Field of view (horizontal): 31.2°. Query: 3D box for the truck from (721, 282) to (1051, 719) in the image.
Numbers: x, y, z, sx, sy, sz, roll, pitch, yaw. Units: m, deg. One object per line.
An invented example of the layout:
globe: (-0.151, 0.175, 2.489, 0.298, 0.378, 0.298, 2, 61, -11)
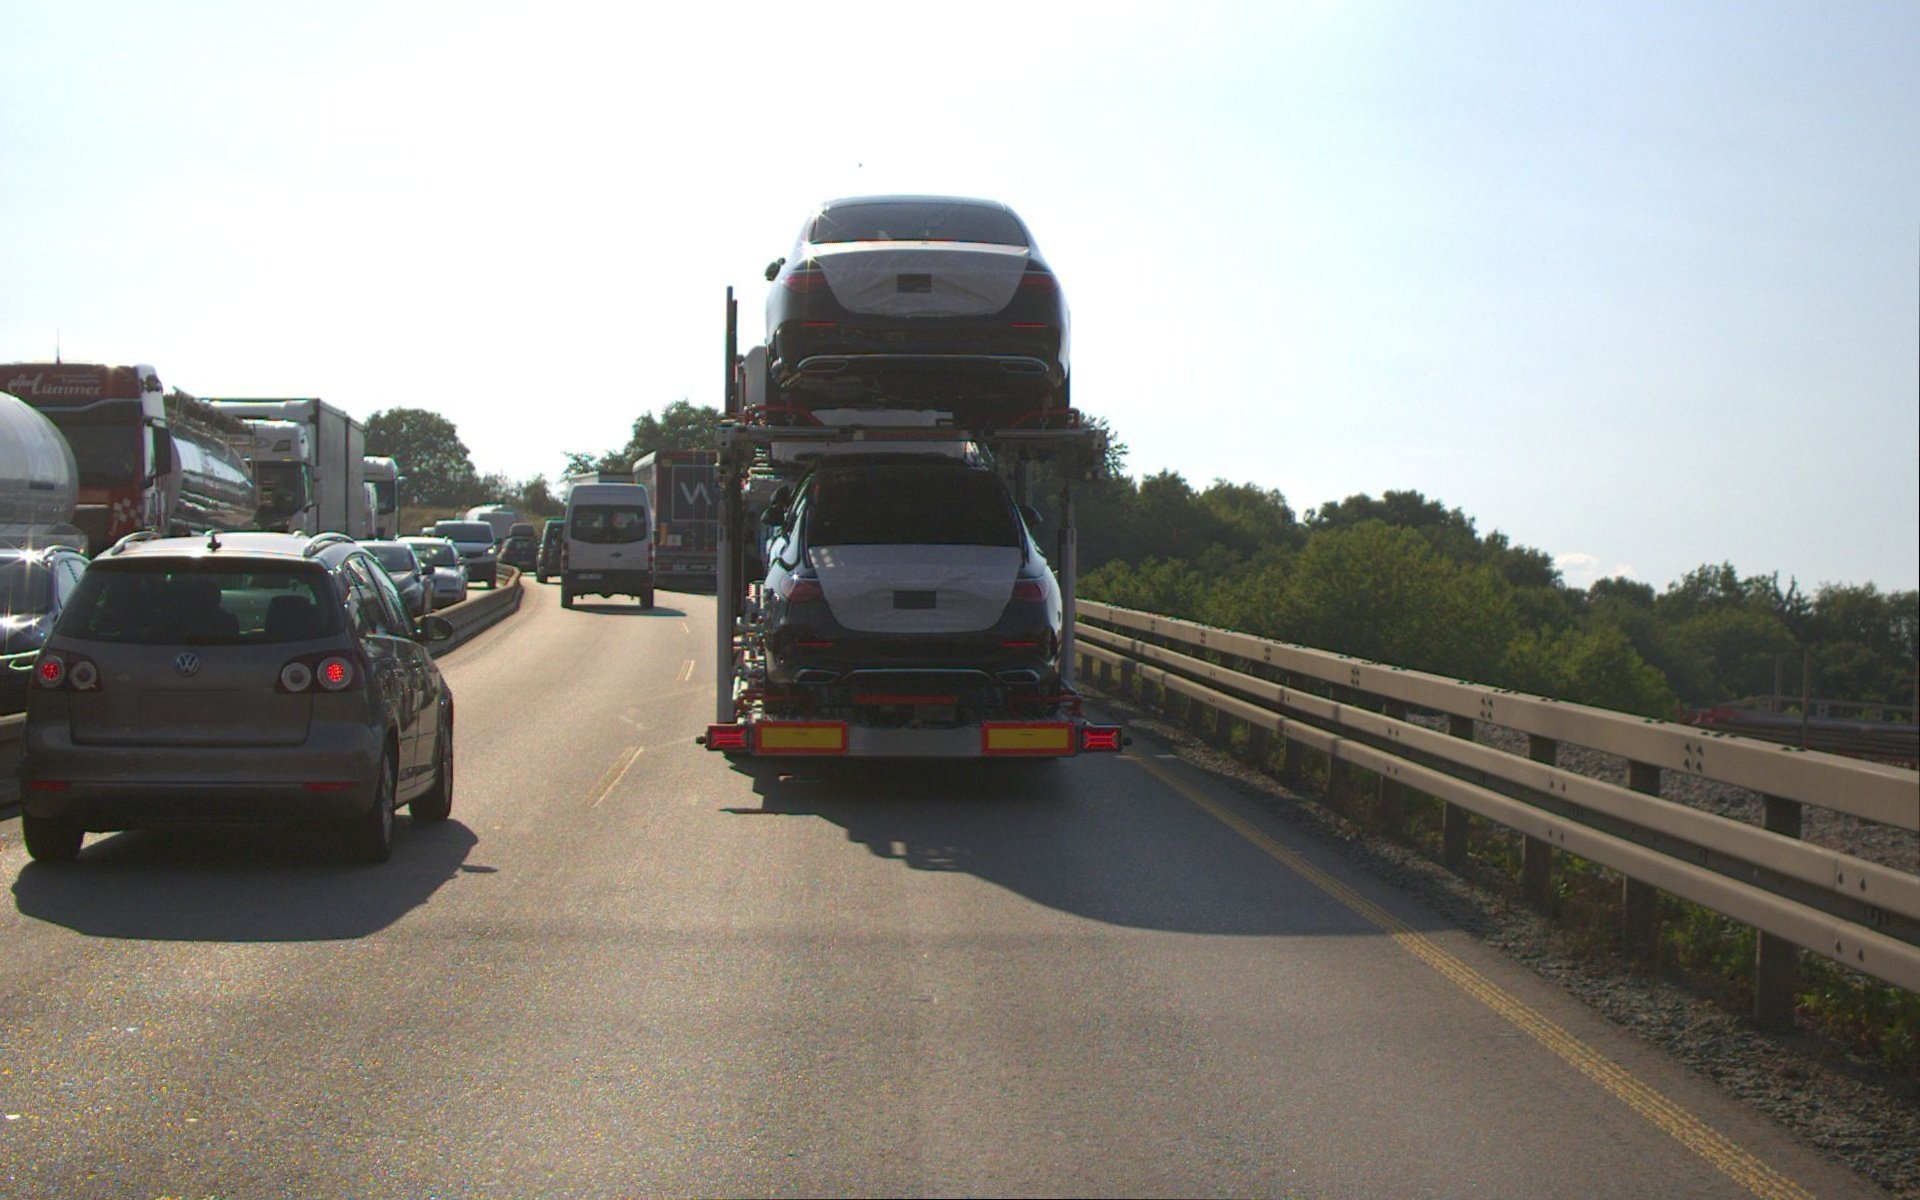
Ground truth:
truck: (-0.927, -0.929, 34.987, 2.837, 3.779, 9.988, 1, 1, -3)

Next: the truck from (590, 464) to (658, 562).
truck: (-13.113, -3.345, 134.135, 2.530, 3.635, 8.907, 1, 1, -6)

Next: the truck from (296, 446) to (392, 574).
truck: (-18.706, -2.689, 104.615, 2.600, 3.741, 6.519, 1, 1, -8)

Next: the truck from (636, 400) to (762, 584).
truck: (-7.935, -3.153, 103.458, 3.285, 5.219, 9.938, 1, 1, -7)

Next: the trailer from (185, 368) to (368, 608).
trailer: (-13.251, -2.097, 67.370, 2.475, 4.314, 10.513, 1, 1, -6)

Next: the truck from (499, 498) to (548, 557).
truck: (-23.682, -3.911, 186.538, 2.590, 3.159, 6.678, 1, 1, -7)

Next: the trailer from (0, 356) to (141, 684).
trailer: (-11.040, -0.845, 36.634, 2.306, 3.350, 12.054, 1, 1, -3)

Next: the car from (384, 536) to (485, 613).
car: (-10.144, -0.515, 66.640, 1.627, 1.421, 4.658, 1, 1, -5)

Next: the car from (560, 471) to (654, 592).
car: (-7.588, -1.465, 74.277, 1.920, 2.484, 5.410, 1, 1, -5)

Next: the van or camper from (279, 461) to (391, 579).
van or camper: (-16.031, -2.026, 88.491, 2.407, 2.881, 7.620, 1, 1, -7)

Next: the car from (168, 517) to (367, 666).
car: (-7.758, -0.118, 38.800, 1.750, 1.581, 3.943, 1, 1, -5)

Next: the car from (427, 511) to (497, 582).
car: (-14.042, -1.513, 97.090, 1.816, 1.919, 4.837, 1, 1, -7)

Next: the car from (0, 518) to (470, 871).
car: (-3.607, 0.406, 17.659, 1.691, 1.590, 4.000, 1, 1, -2)

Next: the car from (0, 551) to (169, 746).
car: (-7.536, 0.316, 26.849, 1.793, 1.393, 4.244, 1, 1, -1)

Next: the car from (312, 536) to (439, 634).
car: (-8.954, -0.249, 52.899, 1.627, 1.421, 4.389, 1, 1, -6)

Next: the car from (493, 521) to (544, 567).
car: (-17.360, -2.195, 135.386, 1.826, 1.766, 4.001, 1, 1, -5)

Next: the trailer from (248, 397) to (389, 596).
trailer: (-14.247, -2.238, 76.832, 2.442, 4.174, 8.546, 1, 1, -6)

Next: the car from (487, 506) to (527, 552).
car: (-20.057, -3.130, 152.129, 1.629, 2.007, 4.001, 1, 1, -9)

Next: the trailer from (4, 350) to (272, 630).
trailer: (-12.382, -1.579, 52.805, 2.306, 3.777, 12.055, 1, 1, -5)

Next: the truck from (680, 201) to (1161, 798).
truck: (-0.474, -0.659, 25.573, 2.799, 3.485, 10.606, 1, 1, -3)

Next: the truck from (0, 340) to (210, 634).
truck: (-11.899, -1.500, 47.186, 2.432, 3.772, 5.618, 1, 1, -5)
